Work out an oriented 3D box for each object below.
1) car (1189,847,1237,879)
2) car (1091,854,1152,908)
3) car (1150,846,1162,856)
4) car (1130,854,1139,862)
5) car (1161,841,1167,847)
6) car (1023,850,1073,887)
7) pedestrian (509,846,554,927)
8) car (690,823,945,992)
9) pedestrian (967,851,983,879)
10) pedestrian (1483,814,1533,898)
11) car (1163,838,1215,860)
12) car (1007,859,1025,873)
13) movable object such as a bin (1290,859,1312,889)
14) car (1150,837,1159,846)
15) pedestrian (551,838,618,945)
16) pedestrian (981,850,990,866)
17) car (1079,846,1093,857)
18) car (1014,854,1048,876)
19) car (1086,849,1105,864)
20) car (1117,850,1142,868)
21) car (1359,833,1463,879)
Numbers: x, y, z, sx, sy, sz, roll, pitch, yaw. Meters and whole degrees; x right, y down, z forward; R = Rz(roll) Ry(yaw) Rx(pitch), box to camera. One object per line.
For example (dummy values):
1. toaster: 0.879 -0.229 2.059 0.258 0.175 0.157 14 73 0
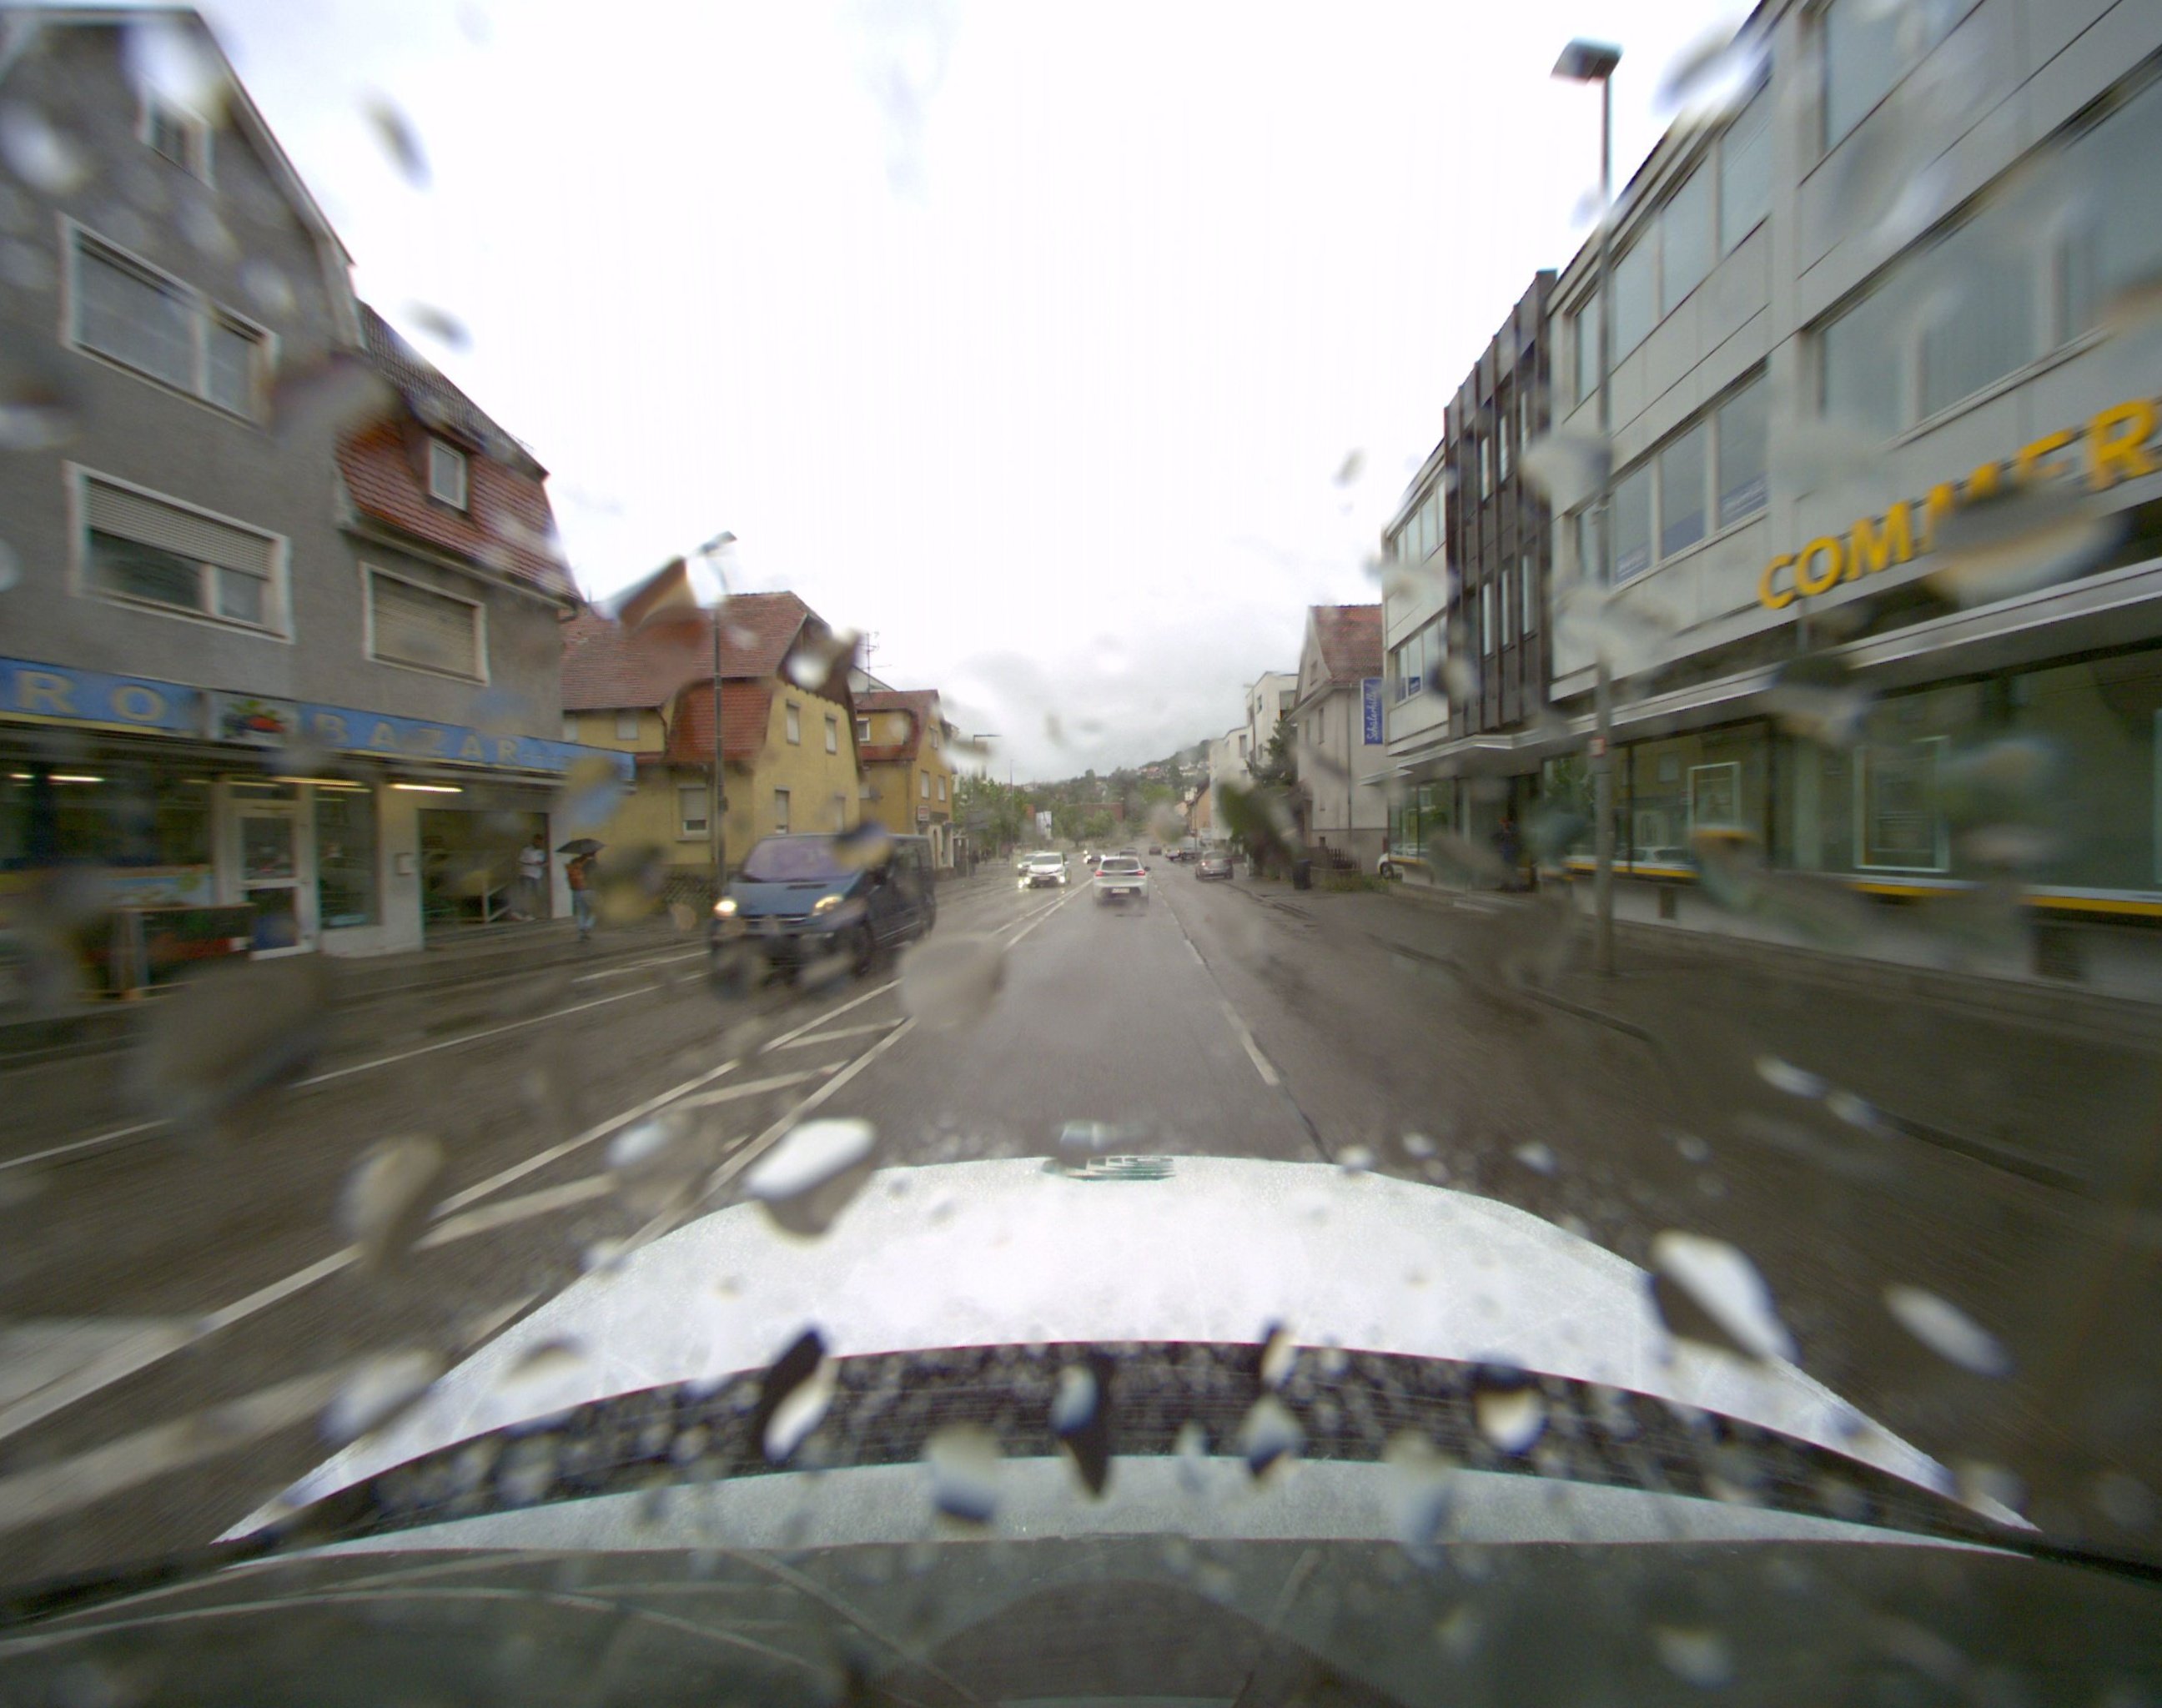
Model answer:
1. car: 7.024 0.539 43.831 2.004 1.622 4.361 -1 -2 2
2. car: 1.205 0.824 25.712 1.686 1.519 3.931 -1 -1 -1
3. car: 11.709 -0.496 127.918 1.727 1.387 3.356 0 4 3
4. car: 7.668 0.573 116.708 1.208 1.156 2.271 -2 -1 1
5. car: 17.932 -2.154 175.634 1.378 1.126 2.614 -2 -1 6
6. car: -1.529 0.695 38.927 1.870 1.609 4.722 -2 -1 3
7. pedestrian: -10.774 0.639 15.983 0.540 1.557 0.447 -2 -1 4
8. car: -3.552 0.674 12.212 1.958 1.938 5.181 -2 -1 2
9. pedestrian: -6.829 0.715 52.647 0.797 1.788 0.883 -2 -1 5
10. pedestrian: 9.344 0.027 17.841 0.724 1.780 0.956 -1 1 11
11. car: 12.466 -0.588 93.787 6.664 2.382 2.270 -1 -1 -45
12. car: -6.411 1.187 80.349 1.365 1.314 3.042 -2 -1 1
13. movable object such as a bin: 7.983 0.725 29.606 0.573 1.048 0.831 -2 1 3
14. car: 17.365 -2.889 193.674 1.985 2.014 4.004 -2 -1 4
15. pedestrian: -9.191 0.687 15.104 0.660 1.921 0.945 1 -1 -4
16. pedestrian: -10.611 0.439 90.358 0.805 1.738 1.004 -2 -1 3
17. car: 0.787 -0.294 122.517 1.872 1.524 4.188 -2 -1 4
18. car: -3.411 0.764 56.349 1.642 1.418 4.143 -4 -1 4
19. car: 1.528 0.297 83.630 1.760 1.413 4.529 -2 -1 3
20. car: 3.706 0.352 61.932 1.733 1.295 3.338 -2 0 5
21. car: 12.000 0.101 29.778 1.359 1.502 3.308 -4 0 -29
